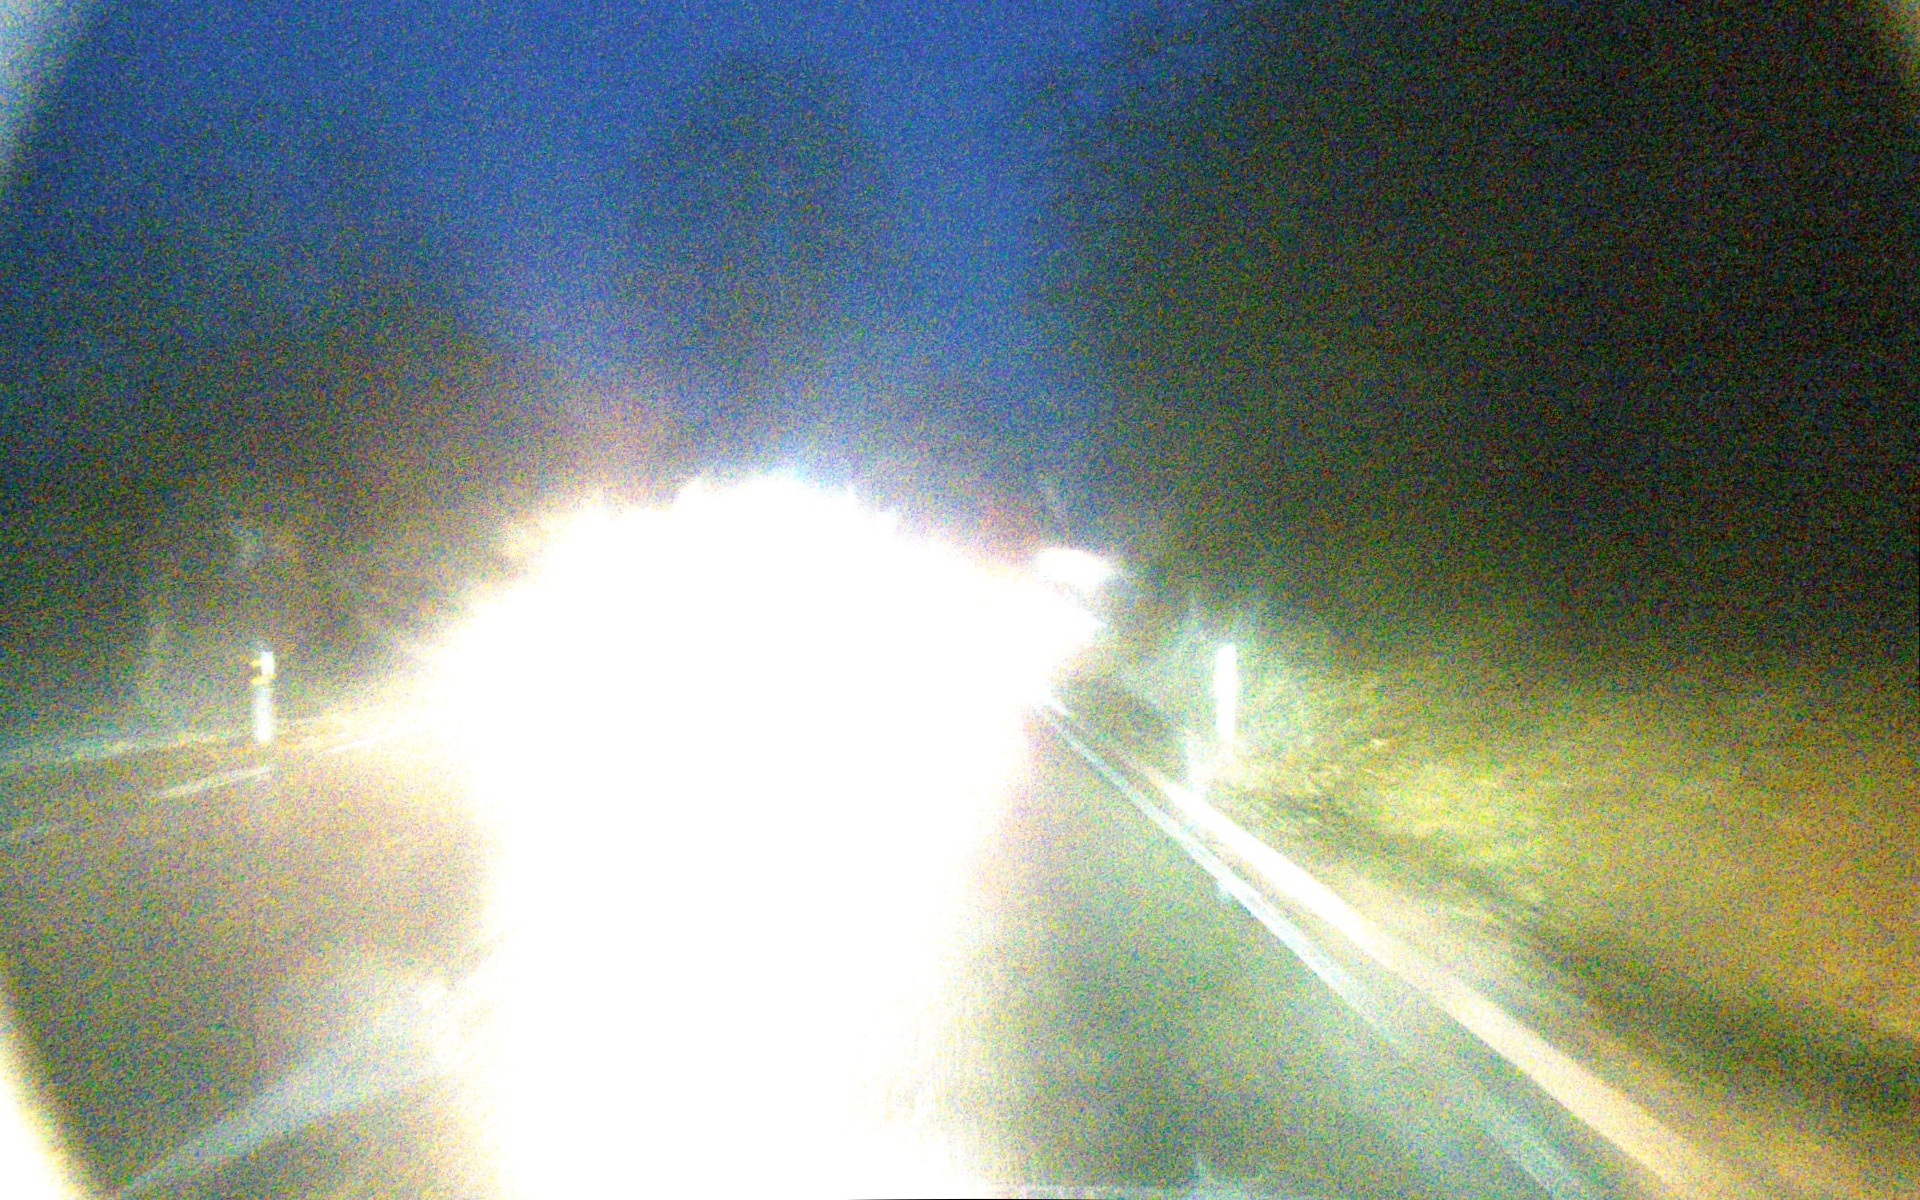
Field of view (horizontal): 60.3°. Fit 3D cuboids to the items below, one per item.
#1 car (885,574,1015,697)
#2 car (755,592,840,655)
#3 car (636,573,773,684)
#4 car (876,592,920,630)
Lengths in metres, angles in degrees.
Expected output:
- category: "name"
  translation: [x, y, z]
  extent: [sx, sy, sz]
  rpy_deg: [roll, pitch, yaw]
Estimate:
- category: "car"
  translation: [-0.157, 0.538, 26.712]
  extent: [1.953, 1.838, 3.917]
  rpy_deg: [0, 0, 0]
- category: "car"
  translation: [-4.144, 0.567, 42.705]
  extent: [1.720, 1.430, 4.487]
  rpy_deg: [2, 1, 0]
- category: "car"
  translation: [-3.864, 0.396, 25.468]
  extent: [1.629, 1.587, 3.560]
  rpy_deg: [0, 0, -1]
- category: "car"
  translation: [-2.739, 0.448, 73.785]
  extent: [1.729, 1.569, 4.148]
  rpy_deg: [2, 1, 0]
